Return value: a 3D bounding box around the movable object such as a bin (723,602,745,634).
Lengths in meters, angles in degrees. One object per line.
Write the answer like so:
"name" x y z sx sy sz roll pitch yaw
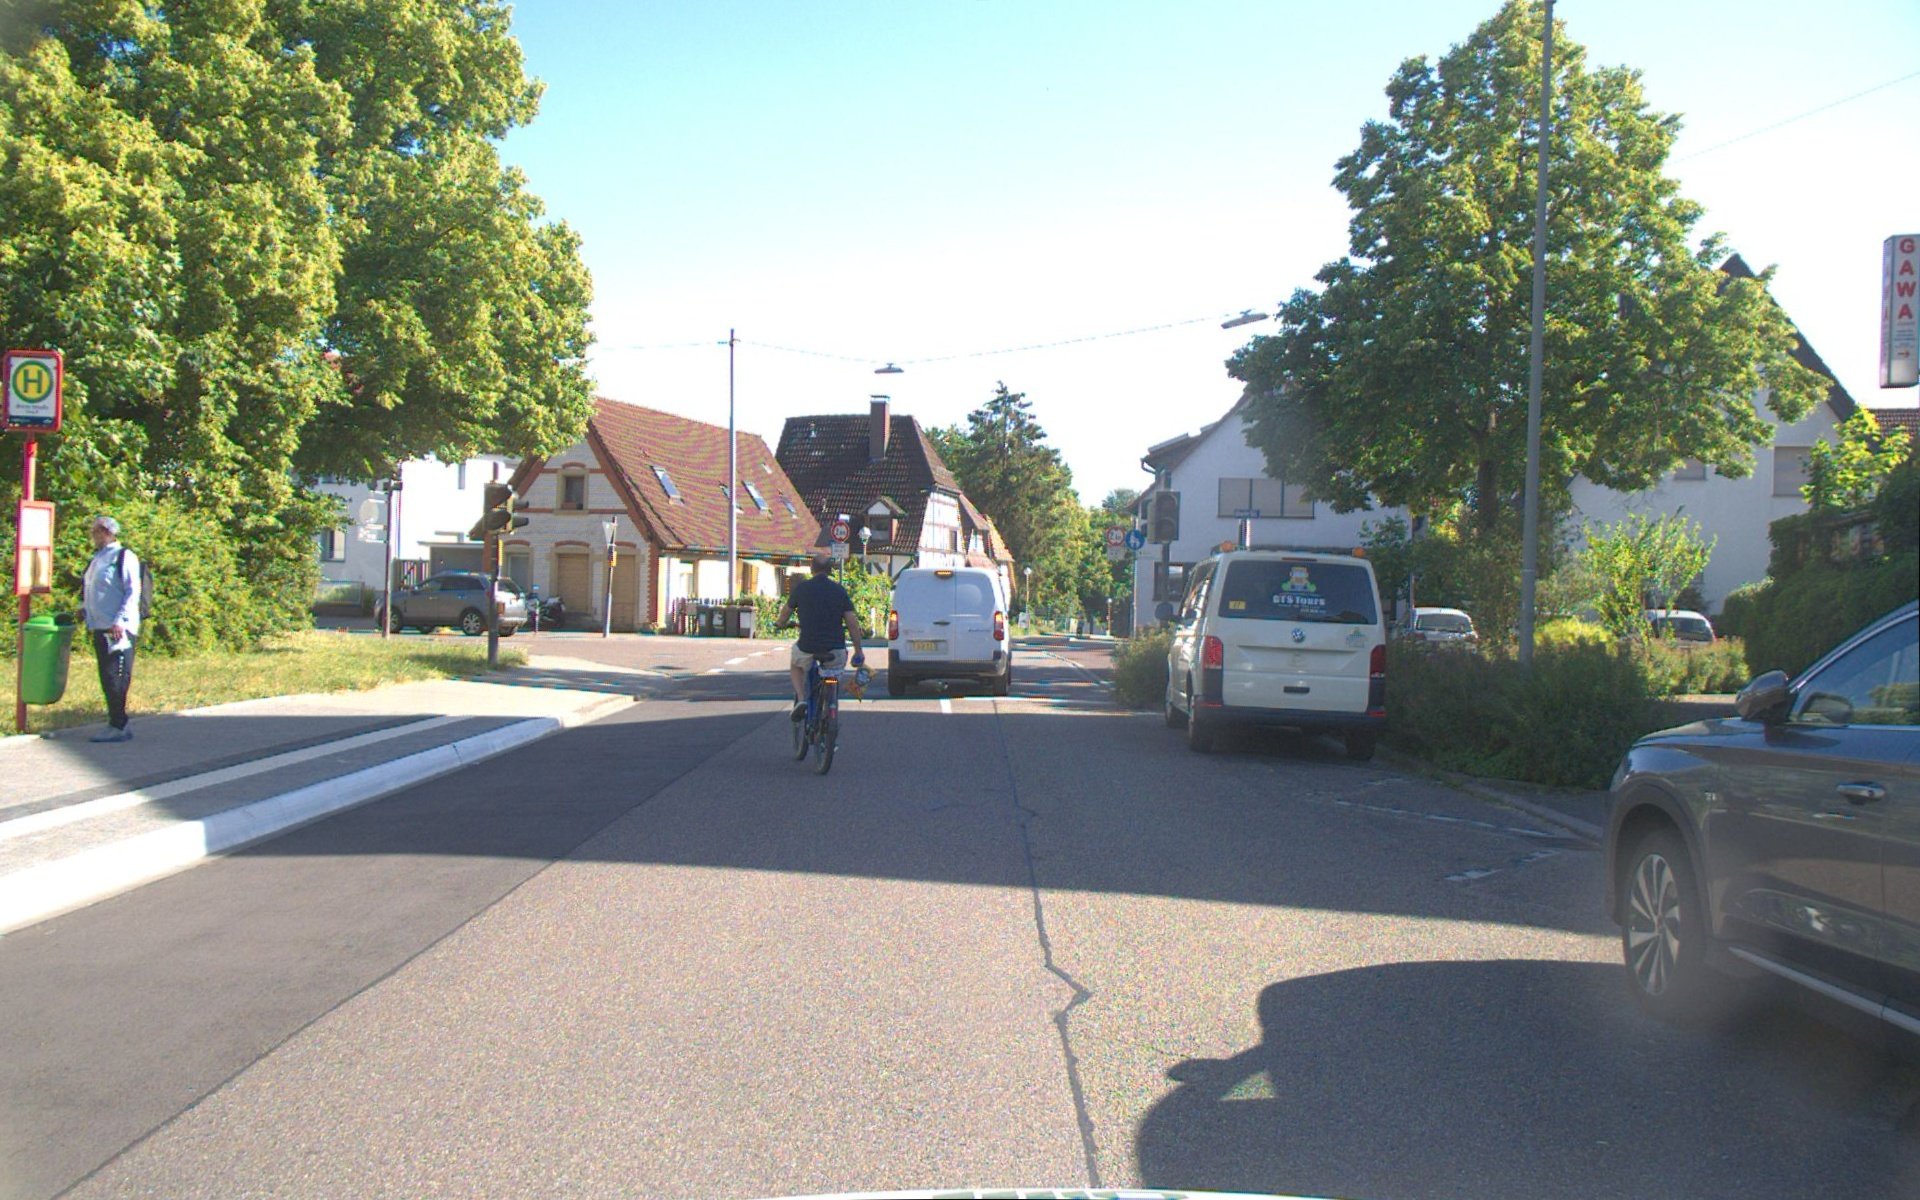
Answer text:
"movable object such as a bin" -6.735 0.543 49.397 0.402 0.941 0.626 1 1 18

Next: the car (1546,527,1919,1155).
"car" 3.667 0.700 5.147 1.917 1.768 4.575 2 1 -2

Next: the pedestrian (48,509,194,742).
"pedestrian" -6.912 0.195 13.638 0.703 1.834 0.768 4 1 33

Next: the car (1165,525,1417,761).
"car" 3.373 0.402 17.758 1.952 2.115 4.579 2 0 3

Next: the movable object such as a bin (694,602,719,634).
"movable object such as a bin" -7.612 0.529 49.721 0.497 0.941 0.626 1 1 18

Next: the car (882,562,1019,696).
"car" -0.093 0.355 25.516 1.917 1.880 4.561 0 1 1

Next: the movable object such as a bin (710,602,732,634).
"movable object such as a bin" -7.159 0.545 49.527 0.403 0.921 0.626 1 1 18

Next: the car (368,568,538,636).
"car" -14.254 0.041 46.552 4.131 1.755 1.947 2 0 14

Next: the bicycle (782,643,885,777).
"bicycle" -1.110 0.891 14.098 0.760 0.956 2.287 0 1 -7

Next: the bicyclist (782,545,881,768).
"bicyclist" -1.097 0.461 13.994 0.750 1.820 0.851 1 0 -7

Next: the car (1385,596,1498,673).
"car" 10.932 0.734 37.877 1.951 1.446 4.807 2 2 10

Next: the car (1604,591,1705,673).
"car" 15.785 0.668 37.760 1.672 1.578 4.406 2 2 18

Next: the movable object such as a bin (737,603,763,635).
"movable object such as a bin" -6.252 0.557 49.235 0.544 0.941 0.626 1 1 18

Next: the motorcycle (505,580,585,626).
"motorcycle" -12.535 0.086 49.948 2.195 1.317 0.883 1 3 19
